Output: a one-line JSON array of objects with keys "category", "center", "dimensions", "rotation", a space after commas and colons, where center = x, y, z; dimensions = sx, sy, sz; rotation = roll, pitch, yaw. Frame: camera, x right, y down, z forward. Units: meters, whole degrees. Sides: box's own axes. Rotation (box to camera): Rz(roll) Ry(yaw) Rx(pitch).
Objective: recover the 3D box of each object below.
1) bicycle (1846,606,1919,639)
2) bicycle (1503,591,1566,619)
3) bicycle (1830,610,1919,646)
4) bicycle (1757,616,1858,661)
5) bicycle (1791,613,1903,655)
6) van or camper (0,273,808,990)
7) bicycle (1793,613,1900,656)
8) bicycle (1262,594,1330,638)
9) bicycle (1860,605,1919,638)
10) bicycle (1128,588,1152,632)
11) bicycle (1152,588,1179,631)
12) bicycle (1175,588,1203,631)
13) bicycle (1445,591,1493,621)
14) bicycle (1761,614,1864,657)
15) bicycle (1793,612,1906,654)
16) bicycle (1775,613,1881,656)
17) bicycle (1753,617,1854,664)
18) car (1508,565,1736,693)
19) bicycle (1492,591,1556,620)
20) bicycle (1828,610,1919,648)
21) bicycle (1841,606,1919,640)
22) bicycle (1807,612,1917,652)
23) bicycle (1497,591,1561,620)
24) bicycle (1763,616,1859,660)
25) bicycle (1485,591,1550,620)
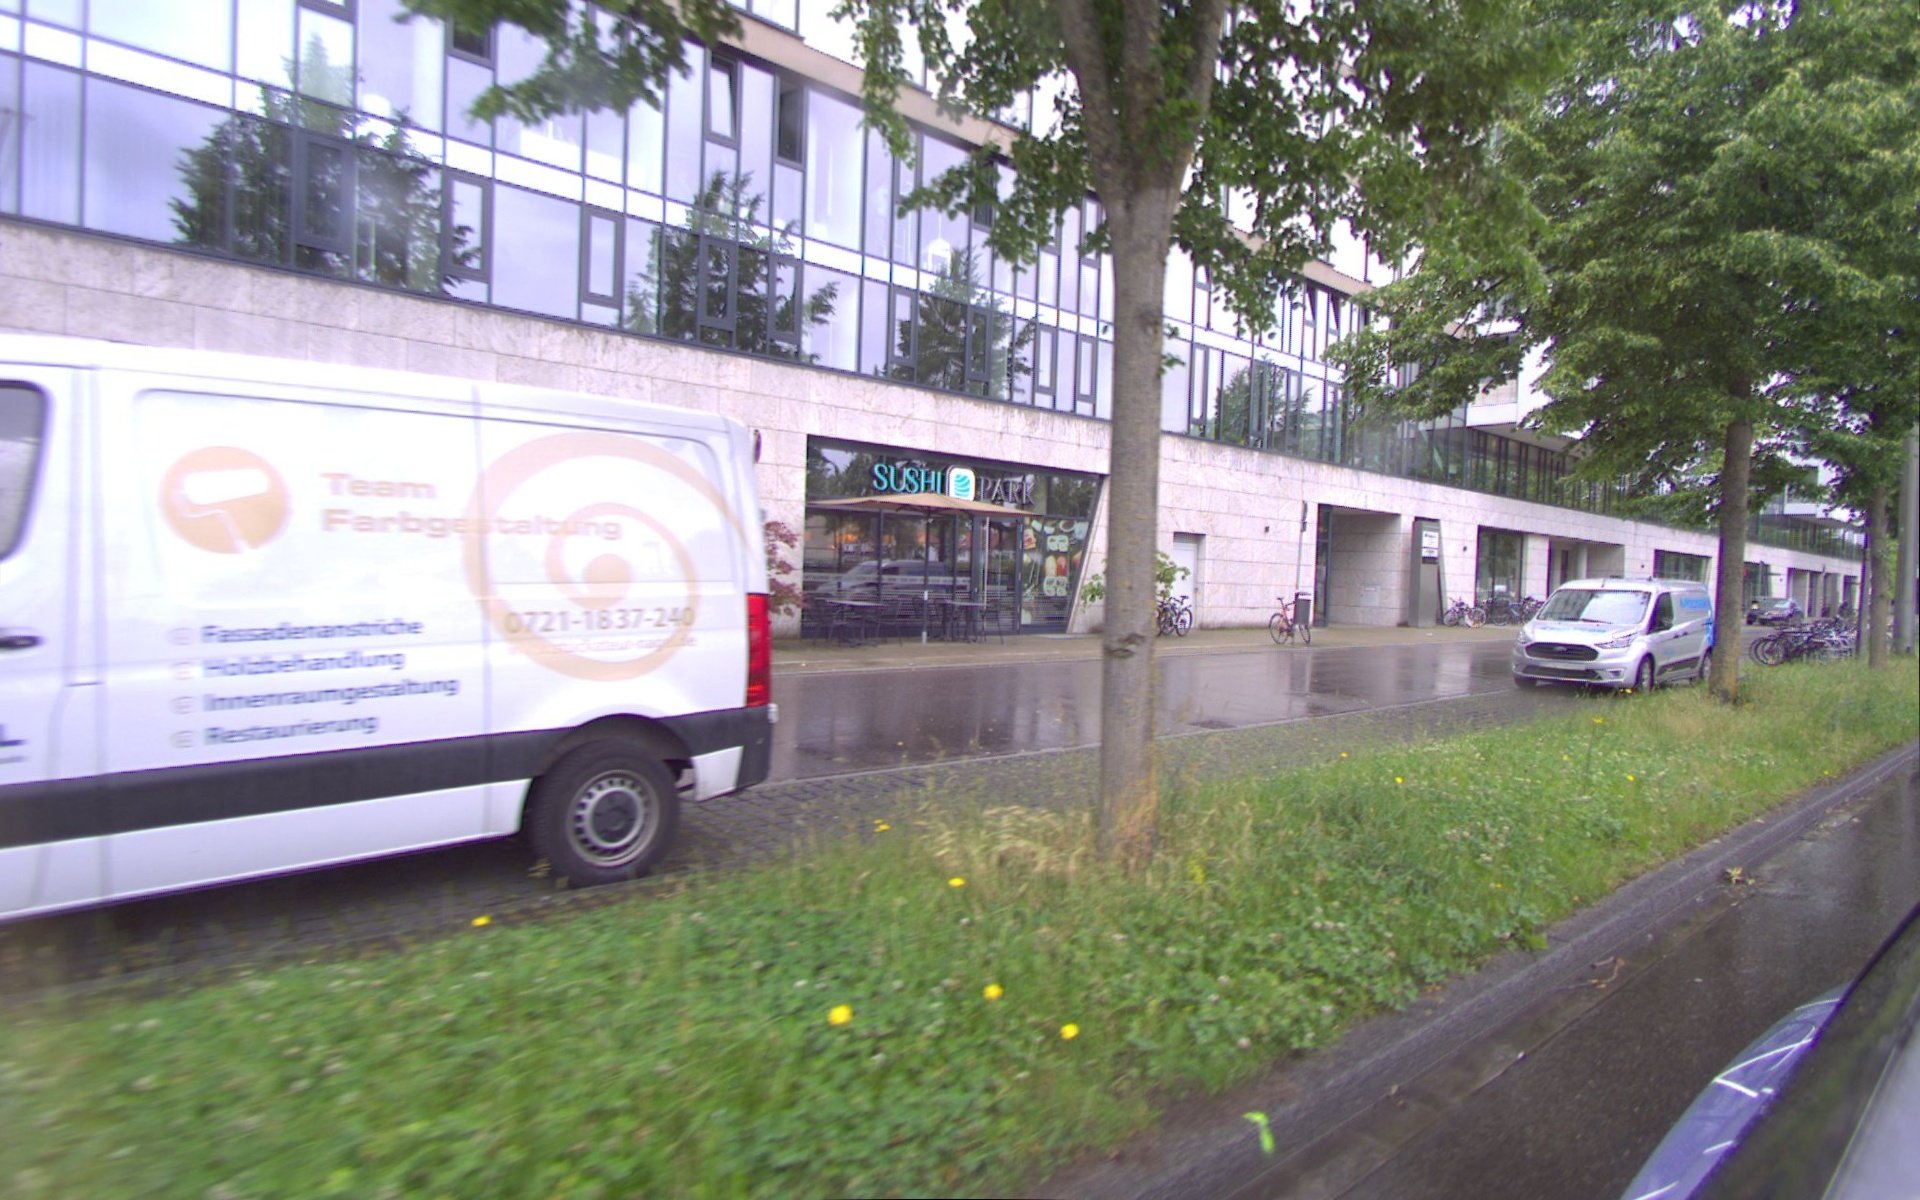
[{"category": "bicycle", "center": [27.966, 0.655, 30.350], "dimensions": [0.510, 0.958, 2.037], "rotation": [0, 0, -43]}, {"category": "bicycle", "center": [21.888, 0.184, 38.589], "dimensions": [0.389, 0.957, 2.026], "rotation": [0, 3, -43]}, {"category": "bicycle", "center": [25.318, 0.752, 27.849], "dimensions": [0.533, 0.958, 2.037], "rotation": [0, 0, -43]}, {"category": "bicycle", "center": [18.986, 0.848, 22.691], "dimensions": [0.389, 0.958, 1.695], "rotation": [0, 0, -43]}, {"category": "bicycle", "center": [21.374, 0.795, 24.422], "dimensions": [0.389, 0.958, 2.003], "rotation": [0, 0, -43]}, {"category": "van or camper", "center": [-3.489, 0.077, 4.281], "dimensions": [5.363, 2.321, 2.030], "rotation": [0, 2, -40]}, {"category": "bicycle", "center": [21.052, 0.801, 24.057], "dimensions": [0.389, 0.958, 1.879], "rotation": [0, 0, -43]}, {"category": "bicycle", "center": [7.671, 0.349, 23.061], "dimensions": [1.822, 0.957, 0.403], "rotation": [0, 1, -32]}, {"category": "bicycle", "center": [28.803, 0.647, 30.841], "dimensions": [0.510, 0.958, 2.037], "rotation": [0, 0, -43]}, {"category": "bicycle", "center": [4.104, 0.208, 23.146], "dimensions": [0.389, 0.958, 2.026], "rotation": [0, 0, 5]}, {"category": "bicycle", "center": [4.728, 0.203, 23.373], "dimensions": [0.389, 0.958, 2.026], "rotation": [0, 0, 5]}, {"category": "bicycle", "center": [5.298, 0.201, 23.478], "dimensions": [0.389, 0.958, 2.026], "rotation": [0, 0, 5]}, {"category": "bicycle", "center": [17.711, 0.202, 35.239], "dimensions": [0.339, 0.957, 1.665], "rotation": [1, 3, -20]}, {"category": "bicycle", "center": [19.856, 0.814, 23.601], "dimensions": [0.389, 0.958, 1.789], "rotation": [0, 0, -43]}, {"category": "bicycle", "center": [21.690, 0.794, 24.717], "dimensions": [0.389, 0.958, 2.037], "rotation": [0, 0, -43]}, {"category": "bicycle", "center": [20.461, 0.808, 23.884], "dimensions": [0.389, 0.958, 1.858], "rotation": [0, 0, -43]}, {"category": "bicycle", "center": [18.480, 0.875, 22.202], "dimensions": [0.389, 0.958, 1.663], "rotation": [0, 0, -43]}, {"category": "car", "center": [10.700, 0.364, 16.214], "dimensions": [4.763, 1.781, 1.745], "rotation": [0, 2, -40]}, {"category": "bicycle", "center": [21.047, 0.199, 37.799], "dimensions": [0.389, 0.957, 2.026], "rotation": [0, 3, -43]}, {"category": "bicycle", "center": [24.664, 0.760, 27.167], "dimensions": [0.458, 0.958, 2.037], "rotation": [0, 0, -43]}, {"category": "bicycle", "center": [26.957, 0.667, 29.388], "dimensions": [0.510, 0.958, 2.037], "rotation": [0, 0, -43]}, {"category": "bicycle", "center": [22.725, 0.782, 25.540], "dimensions": [0.389, 0.958, 2.037], "rotation": [0, 0, -43]}, {"category": "bicycle", "center": [21.464, 0.197, 38.208], "dimensions": [0.389, 0.957, 2.026], "rotation": [0, 3, -43]}, {"category": "bicycle", "center": [19.484, 0.854, 23.190], "dimensions": [0.389, 0.958, 1.646], "rotation": [0, 0, -43]}, {"category": "bicycle", "center": [20.544, 0.200, 37.327], "dimensions": [0.389, 0.957, 2.026], "rotation": [0, 3, -43]}]
